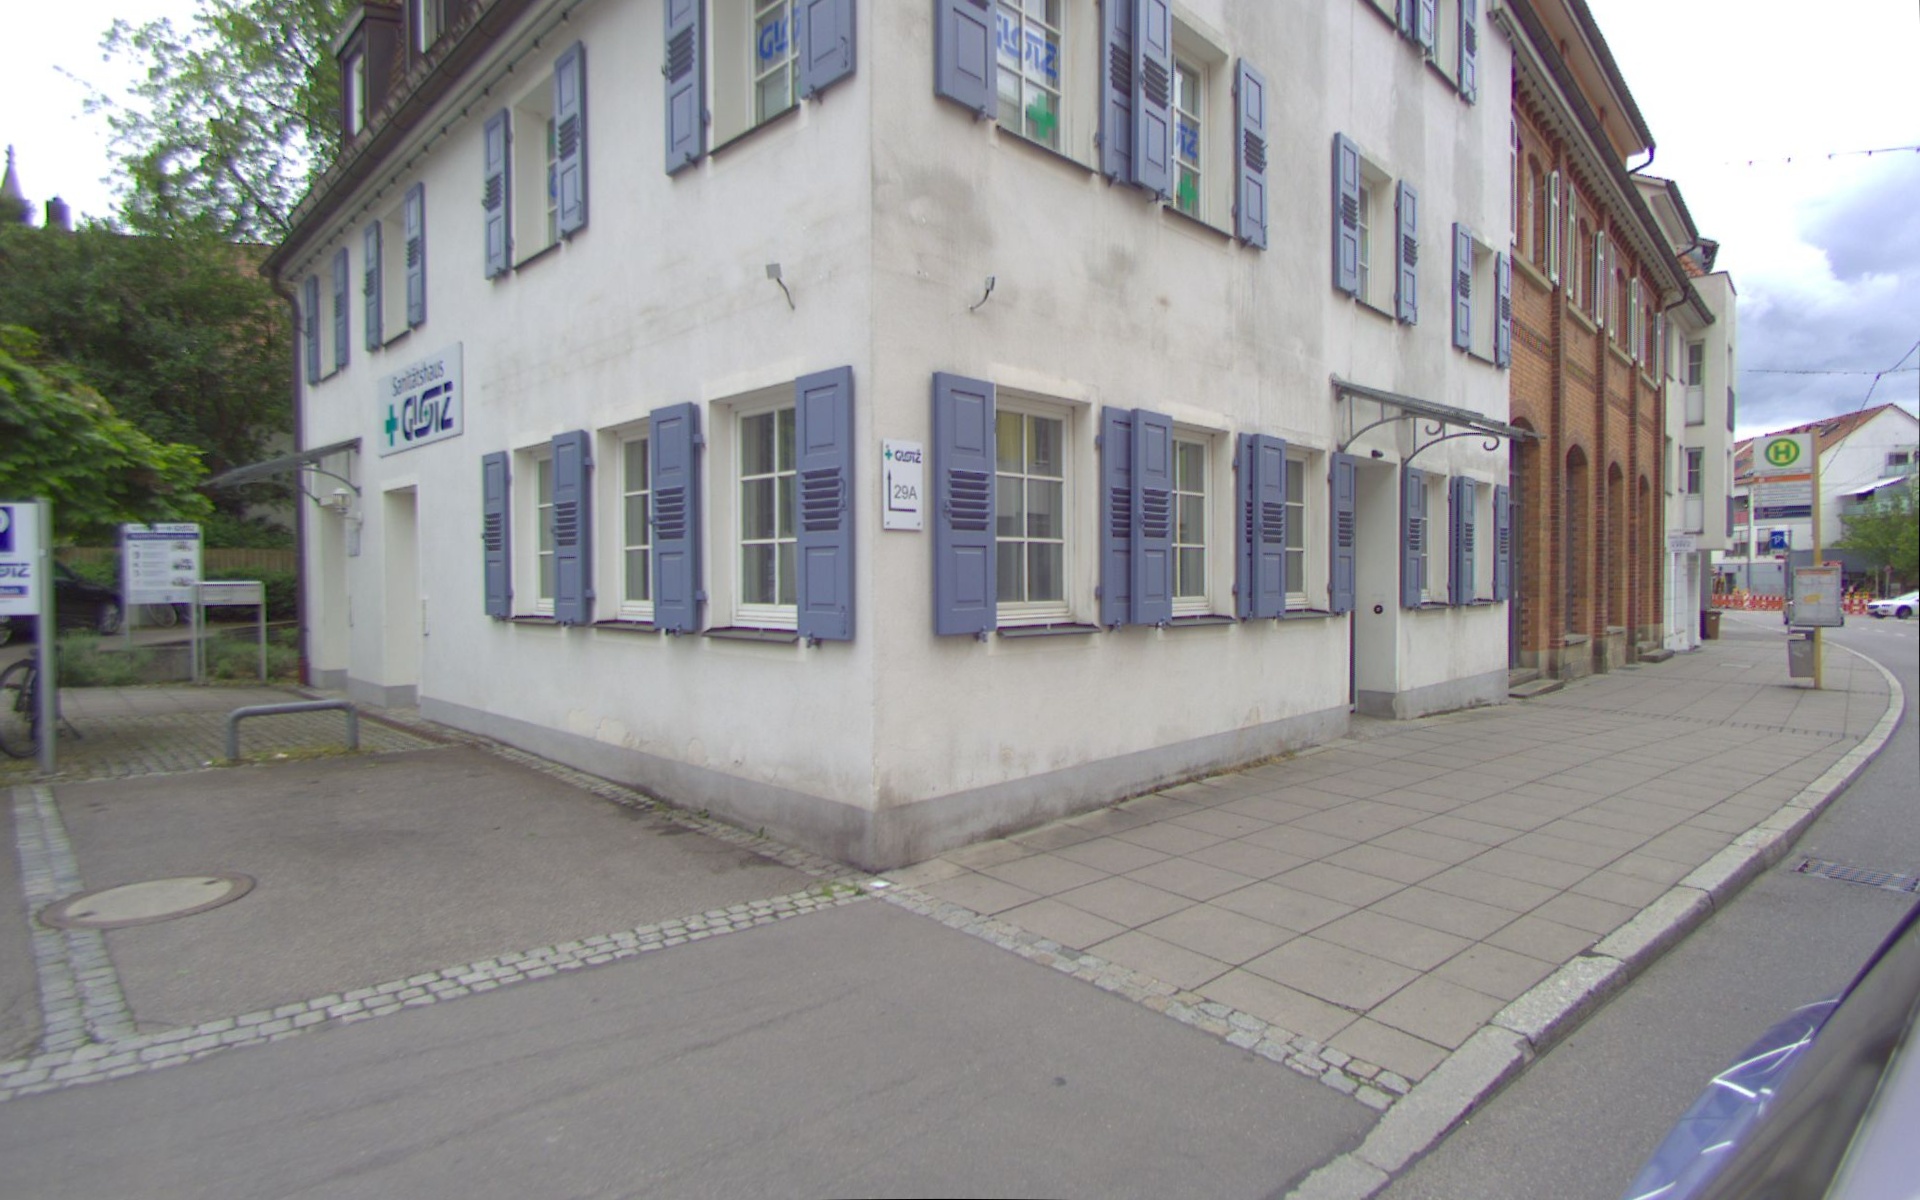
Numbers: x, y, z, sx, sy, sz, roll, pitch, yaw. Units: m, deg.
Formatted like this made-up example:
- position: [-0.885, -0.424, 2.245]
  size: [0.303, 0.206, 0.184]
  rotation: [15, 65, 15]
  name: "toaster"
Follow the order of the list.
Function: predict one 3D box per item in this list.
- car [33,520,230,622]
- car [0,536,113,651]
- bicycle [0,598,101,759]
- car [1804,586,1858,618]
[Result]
- position: [-17.108, -0.599, 21.167]
  size: [1.958, 1.924, 4.009]
  rotation: [0, 1, -20]
  name: "car"
- position: [-14.839, -0.160, 15.083]
  size: [1.873, 1.573, 4.010]
  rotation: [4, 1, -16]
  name: "car"
- position: [-7.115, 0.543, 7.830]
  size: [0.604, 1.074, 1.916]
  rotation: [1, 0, -38]
  name: "bicycle"
- position: [38.343, 0.061, 44.567]
  size: [1.749, 1.372, 3.941]
  rotation: [0, 1, 41]
  name: "car"
